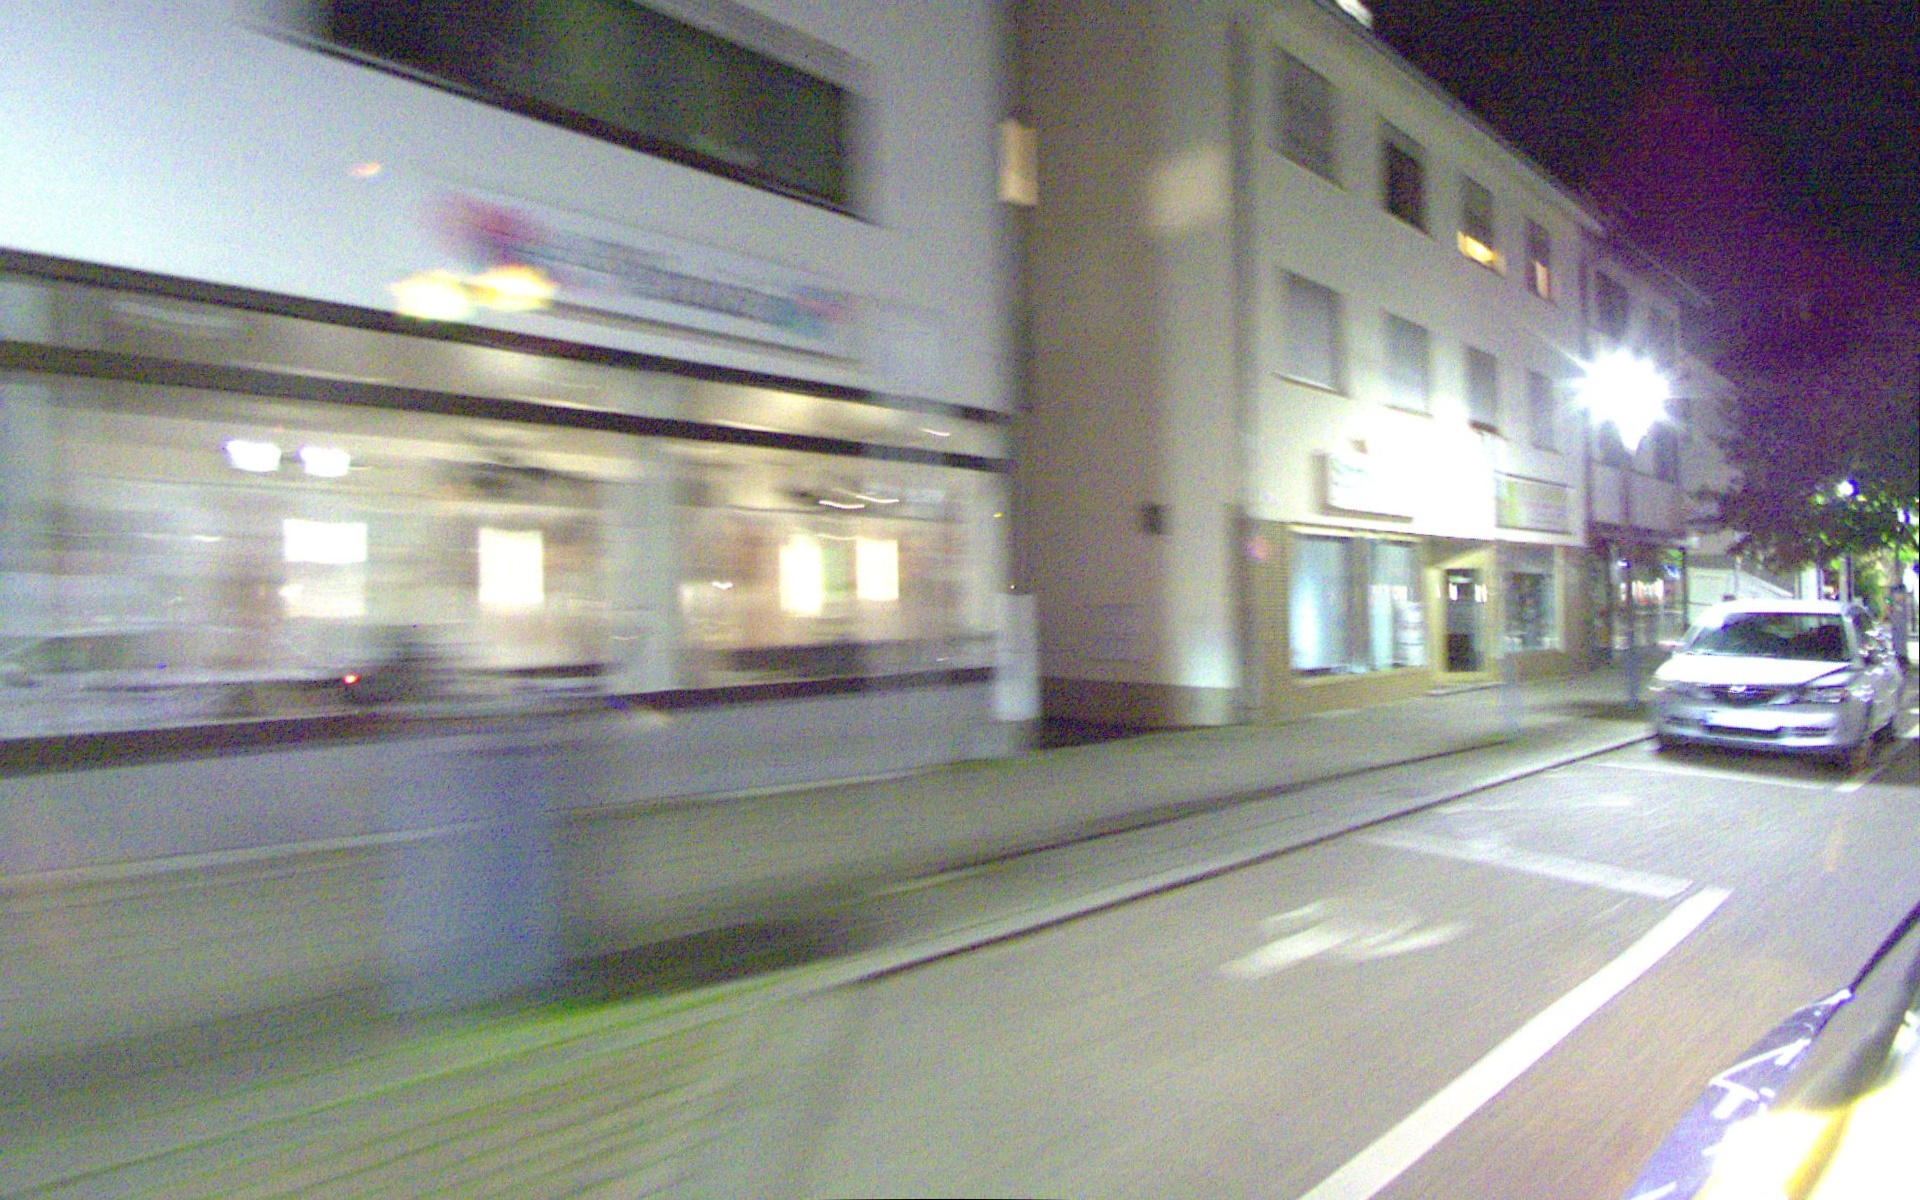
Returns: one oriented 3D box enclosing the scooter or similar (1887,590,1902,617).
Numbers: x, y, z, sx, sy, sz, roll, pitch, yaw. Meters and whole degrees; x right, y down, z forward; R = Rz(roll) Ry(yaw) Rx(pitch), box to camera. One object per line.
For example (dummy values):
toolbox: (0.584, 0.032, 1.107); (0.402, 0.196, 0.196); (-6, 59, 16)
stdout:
scooter or similar: (45.243, 0.159, 48.981); (1.283, 1.292, 0.373); (-2, 1, -40)

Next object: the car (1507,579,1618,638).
car: (18.374, 0.196, 30.814); (3.989, 1.477, 1.808); (-3, 6, -43)

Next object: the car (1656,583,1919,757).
car: (8.658, 0.576, 10.448); (3.613, 1.478, 1.676); (-1, 0, -43)
